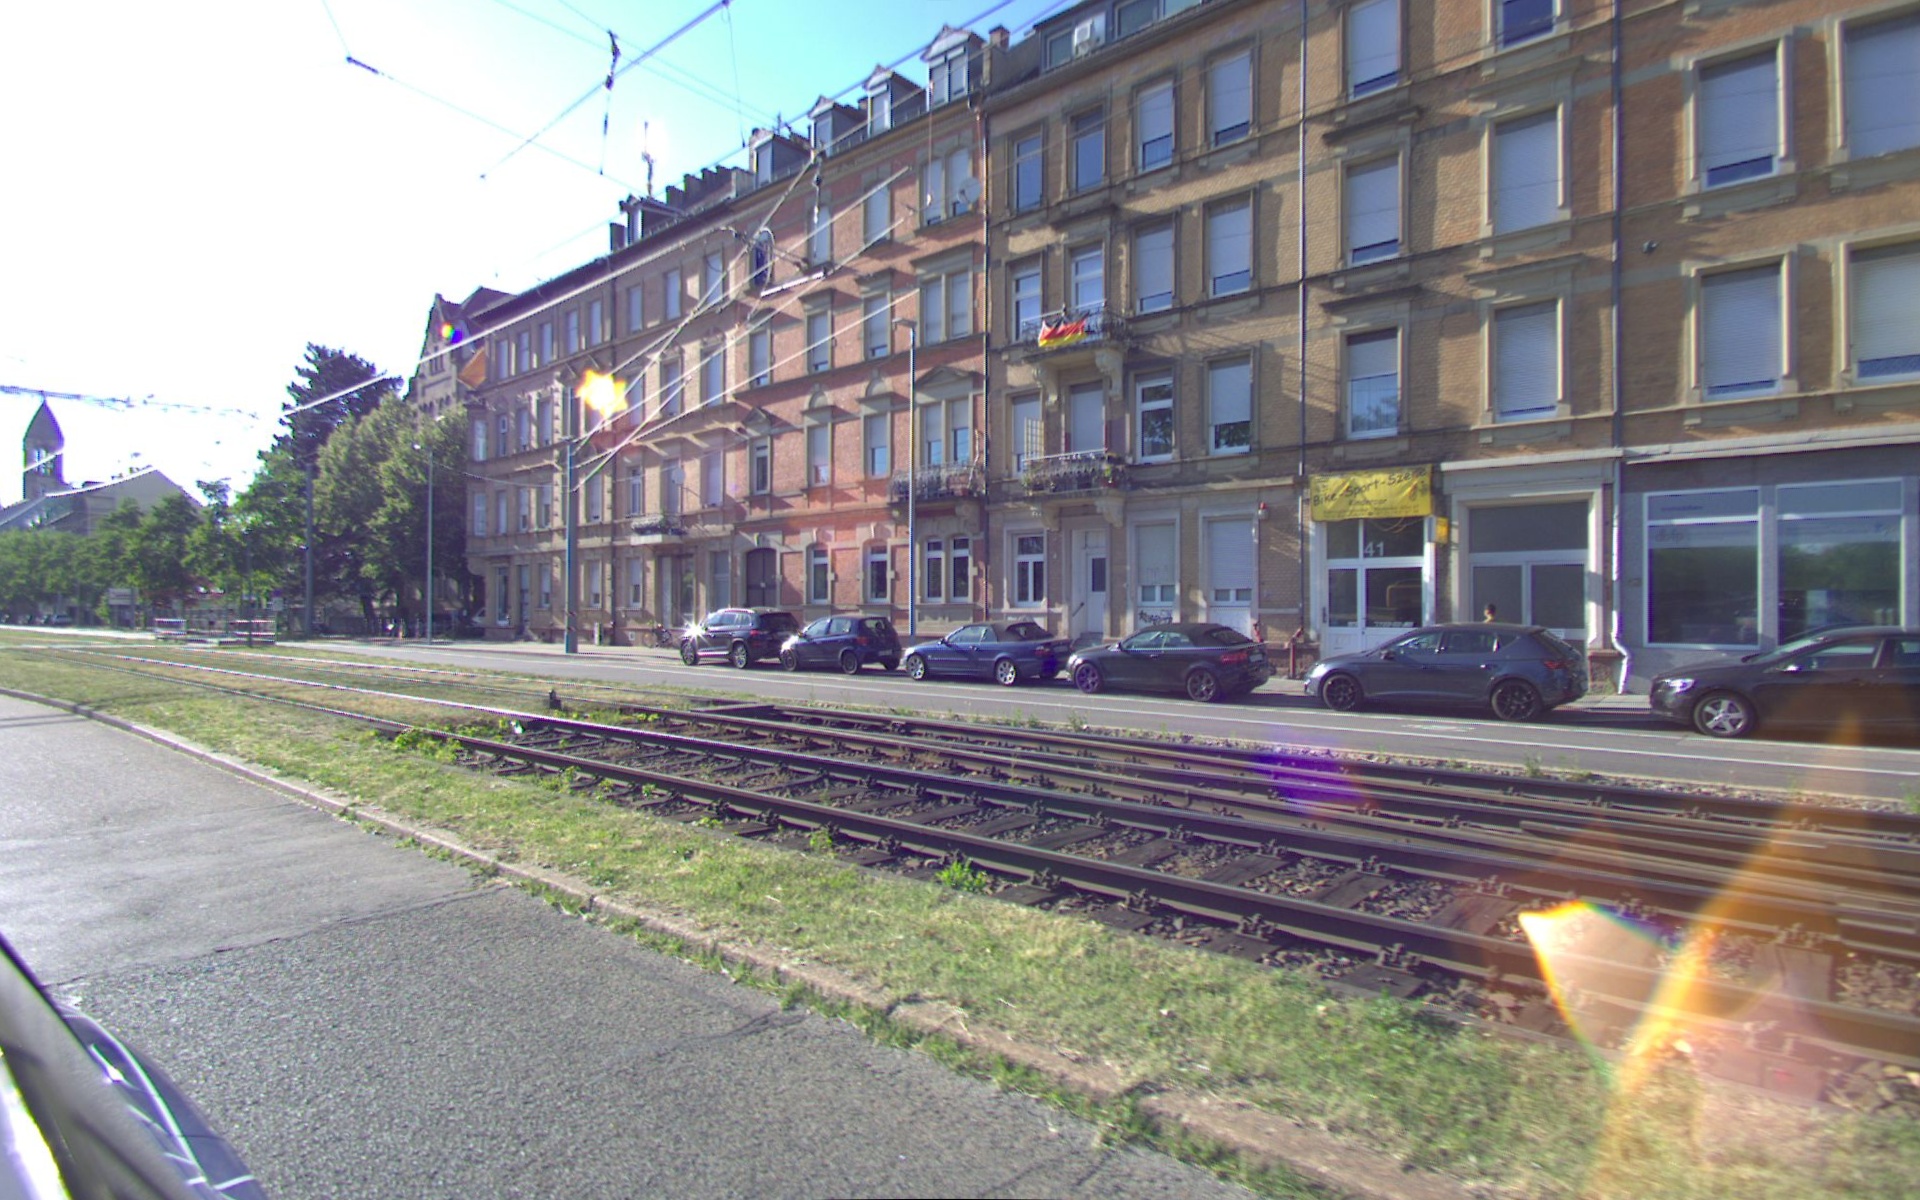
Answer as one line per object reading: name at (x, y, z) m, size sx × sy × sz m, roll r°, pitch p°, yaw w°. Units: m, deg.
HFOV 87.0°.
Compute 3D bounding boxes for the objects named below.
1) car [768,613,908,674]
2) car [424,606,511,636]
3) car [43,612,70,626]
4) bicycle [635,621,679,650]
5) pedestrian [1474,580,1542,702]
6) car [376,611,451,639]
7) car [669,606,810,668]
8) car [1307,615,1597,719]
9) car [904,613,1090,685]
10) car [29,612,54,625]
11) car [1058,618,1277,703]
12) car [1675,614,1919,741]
car at (-3.301, 1.100, 26.986) m, size 3.764 × 1.456 × 1.642 m, roll -1°, pitch 1°, yaw 42°
car at (-32.018, 1.316, 65.973) m, size 4.983 × 1.838 × 2.029 m, roll 0°, pitch 1°, yaw -23°
car at (-105.757, 2.233, 118.393) m, size 3.997 × 1.522 × 1.776 m, roll -1°, pitch -2°, yaw 40°
bicycle at (-11.565, 1.354, 38.599) m, size 2.009 × 1.011 × 0.584 m, roll 0°, pitch 1°, yaw 40°
pedestrian at (9.307, 0.677, 17.220) m, size 0.868 × 2.029 × 0.634 m, roll 0°, pitch 1°, yaw 12°
car at (-33.192, 1.481, 61.565) m, size 3.931 × 1.521 × 1.806 m, roll -1°, pitch 1°, yaw -27°
car at (-6.582, 1.040, 29.892) m, size 4.632 × 1.655 × 1.774 m, roll -1°, pitch 1°, yaw 44°
car at (7.947, 0.995, 16.554) m, size 3.980 × 1.456 × 1.642 m, roll -1°, pitch 1°, yaw 42°
car at (0.783, 1.058, 23.238) m, size 4.195 × 1.456 × 1.642 m, roll -1°, pitch 1°, yaw 42°
car at (-113.561, 2.306, 125.150) m, size 3.997 × 1.522 × 1.776 m, roll -1°, pitch -2°, yaw 40°
car at (4.051, 1.119, 20.153) m, size 3.980 × 1.456 × 1.642 m, roll -1°, pitch 1°, yaw 42°
car at (11.608, 0.928, 12.852) m, size 3.980 × 1.456 × 1.642 m, roll -1°, pitch 1°, yaw 42°
